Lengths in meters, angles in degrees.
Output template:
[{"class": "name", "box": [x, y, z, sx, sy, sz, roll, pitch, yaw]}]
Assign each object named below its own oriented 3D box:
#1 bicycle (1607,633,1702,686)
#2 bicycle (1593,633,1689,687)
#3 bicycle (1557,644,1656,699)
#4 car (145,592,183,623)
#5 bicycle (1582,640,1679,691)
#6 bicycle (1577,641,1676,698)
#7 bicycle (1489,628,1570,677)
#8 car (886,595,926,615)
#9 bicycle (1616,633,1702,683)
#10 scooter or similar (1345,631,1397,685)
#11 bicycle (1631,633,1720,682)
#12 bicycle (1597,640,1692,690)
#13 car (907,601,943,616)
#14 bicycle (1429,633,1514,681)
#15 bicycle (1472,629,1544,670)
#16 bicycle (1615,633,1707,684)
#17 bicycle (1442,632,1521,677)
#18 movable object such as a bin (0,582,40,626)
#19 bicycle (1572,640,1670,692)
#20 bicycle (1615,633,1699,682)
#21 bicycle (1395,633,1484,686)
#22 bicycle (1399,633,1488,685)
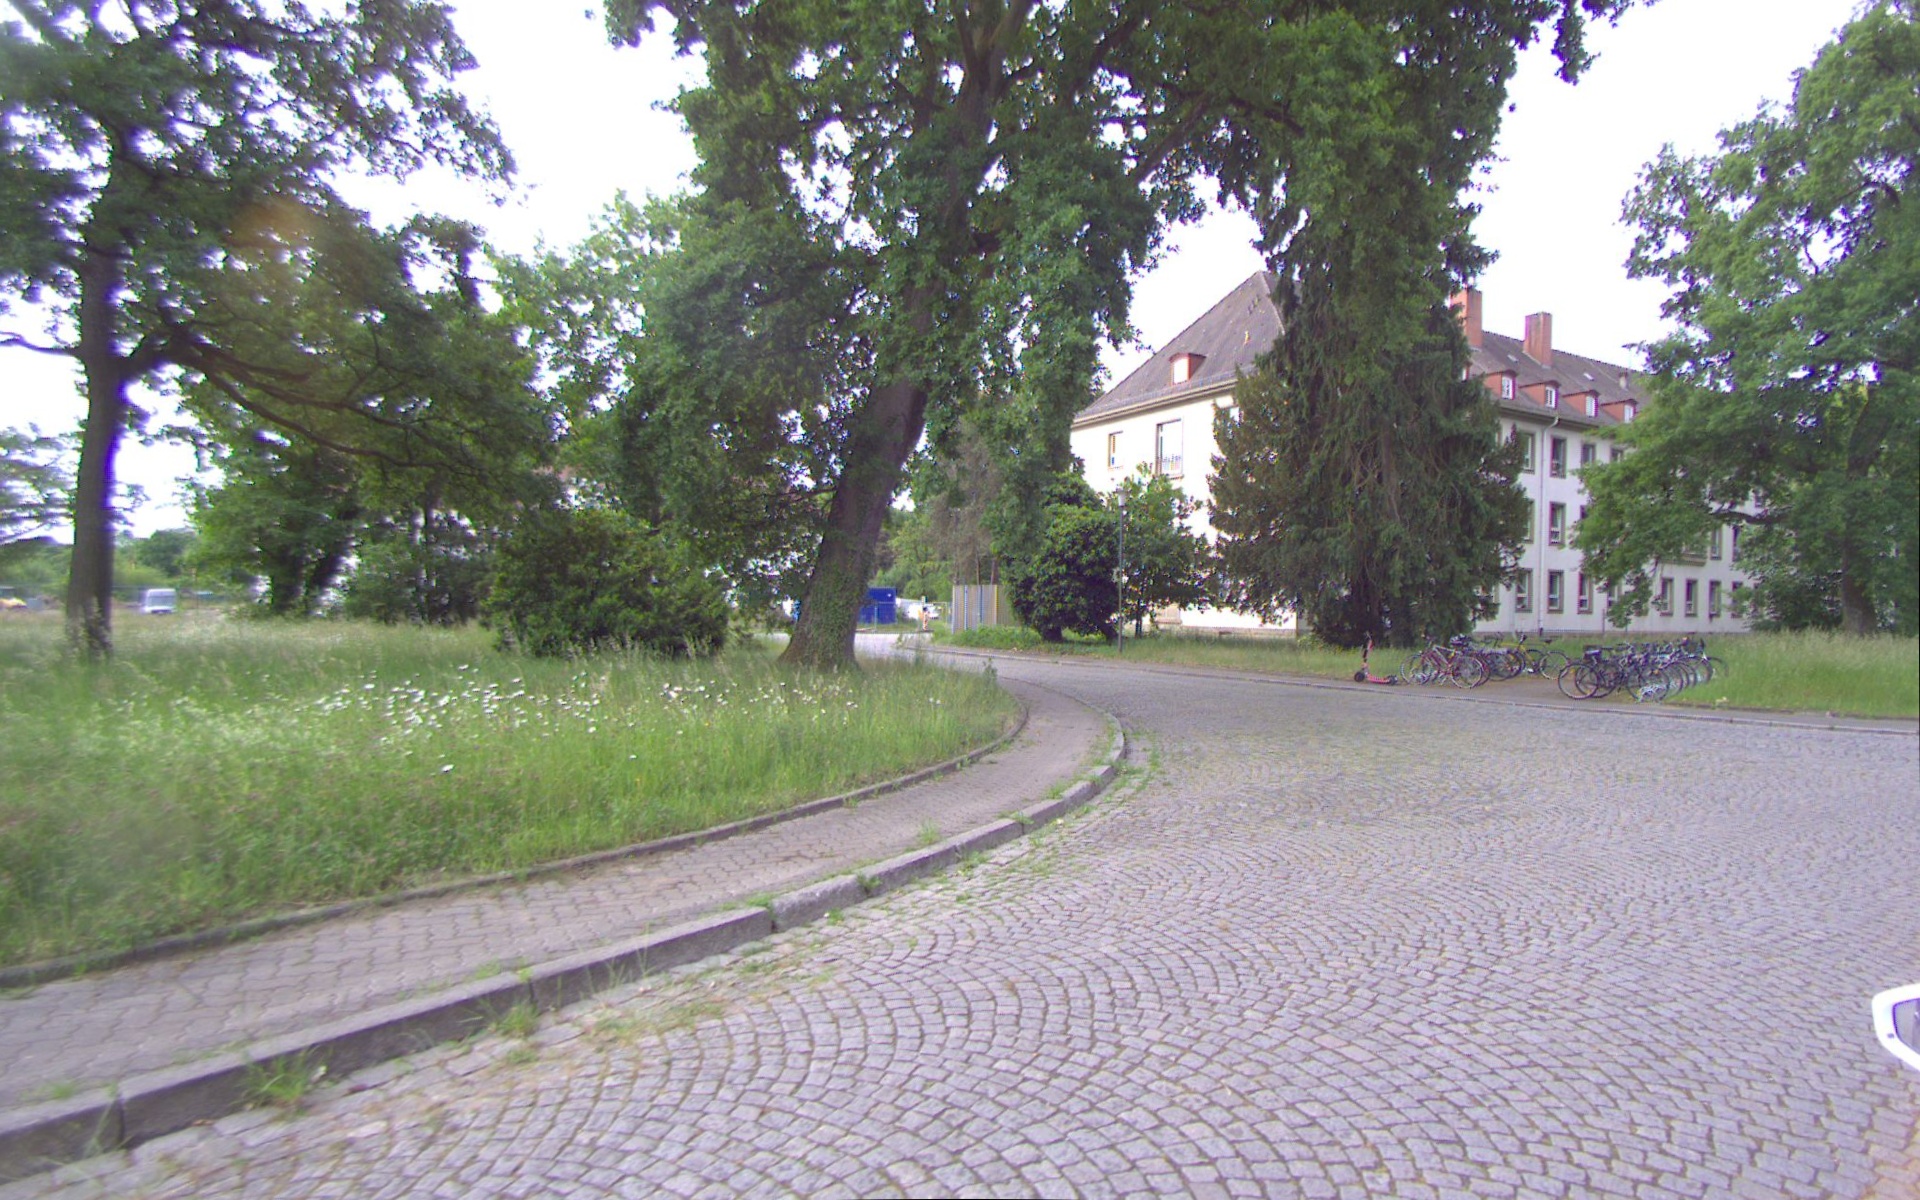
[{"class": "bicycle", "box": [15.776, 1.336, 22.837, 1.737, 1.126, 0.476, 1, -1, 38]}, {"class": "bicycle", "box": [15.301, 1.321, 22.602, 1.741, 1.126, 0.475, 1, -1, 44]}, {"class": "bicycle", "box": [12.626, 1.376, 19.662, 1.593, 1.021, 0.477, -1, -2, 29]}, {"class": "car", "box": [-59.290, 0.547, 74.877, 2.054, 2.179, 4.848, 1, -1, -37]}, {"class": "bicycle", "box": [14.191, 1.367, 21.296, 1.645, 1.021, 0.475, -1, -2, 44]}, {"class": "bicycle", "box": [13.241, 1.373, 19.999, 1.593, 1.088, 0.477, -1, -2, 29]}, {"class": "bicycle", "box": [14.620, 1.323, 25.808, 0.546, 1.186, 1.735, 1, -1, -38]}, {"class": "car", "box": [-5.675, 0.571, 106.830, 1.732, 2.070, 5.413, 0, 0, 28]}, {"class": "bicycle", "box": [16.841, 1.382, 24.234, 0.438, 1.126, 1.632, 1, -1, -40]}, {"class": "scooter or similar", "box": [9.712, 1.357, 23.778, 0.354, 1.226, 1.127, 1, -1, -34]}, {"class": "bicycle", "box": [17.708, 1.405, 24.892, 1.741, 1.126, 0.475, 1, -1, 44]}, {"class": "bicycle", "box": [14.805, 1.388, 21.760, 1.645, 1.021, 0.475, -1, -2, 44]}, {"class": "car", "box": [-3.605, 0.889, 104.909, 1.732, 1.522, 4.439, 0, 0, 28]}, {"class": "bicycle", "box": [12.565, 1.385, 24.698, 1.795, 1.079, 0.616, 1, -1, 35]}, {"class": "bicycle", "box": [15.145, 1.355, 27.774, 0.548, 1.055, 1.661, 1, -1, -44]}, {"class": "bicycle", "box": [16.619, 1.367, 23.834, 1.741, 1.126, 0.475, 1, -1, 44]}, {"class": "bicycle", "box": [13.388, 1.385, 25.798, 1.725, 1.079, 0.550, 1, -1, 35]}, {"class": "movable object such as a bin", "box": [-59.455, 0.229, 61.606, 5.240, 2.590, 2.001, 1, -1, 17]}, {"class": "bicycle", "box": [13.725, 1.351, 20.891, 1.645, 1.021, 0.475, -1, -2, 44]}, {"class": "bicycle", "box": [17.126, 1.393, 24.714, 0.438, 1.126, 1.632, 1, -1, -40]}, {"class": "bicycle", "box": [11.032, 1.352, 23.142, 1.744, 1.129, 0.548, 1, -1, 42]}, {"class": "bicycle", "box": [11.315, 1.362, 23.548, 1.779, 1.129, 0.548, 1, -1, 42]}]
